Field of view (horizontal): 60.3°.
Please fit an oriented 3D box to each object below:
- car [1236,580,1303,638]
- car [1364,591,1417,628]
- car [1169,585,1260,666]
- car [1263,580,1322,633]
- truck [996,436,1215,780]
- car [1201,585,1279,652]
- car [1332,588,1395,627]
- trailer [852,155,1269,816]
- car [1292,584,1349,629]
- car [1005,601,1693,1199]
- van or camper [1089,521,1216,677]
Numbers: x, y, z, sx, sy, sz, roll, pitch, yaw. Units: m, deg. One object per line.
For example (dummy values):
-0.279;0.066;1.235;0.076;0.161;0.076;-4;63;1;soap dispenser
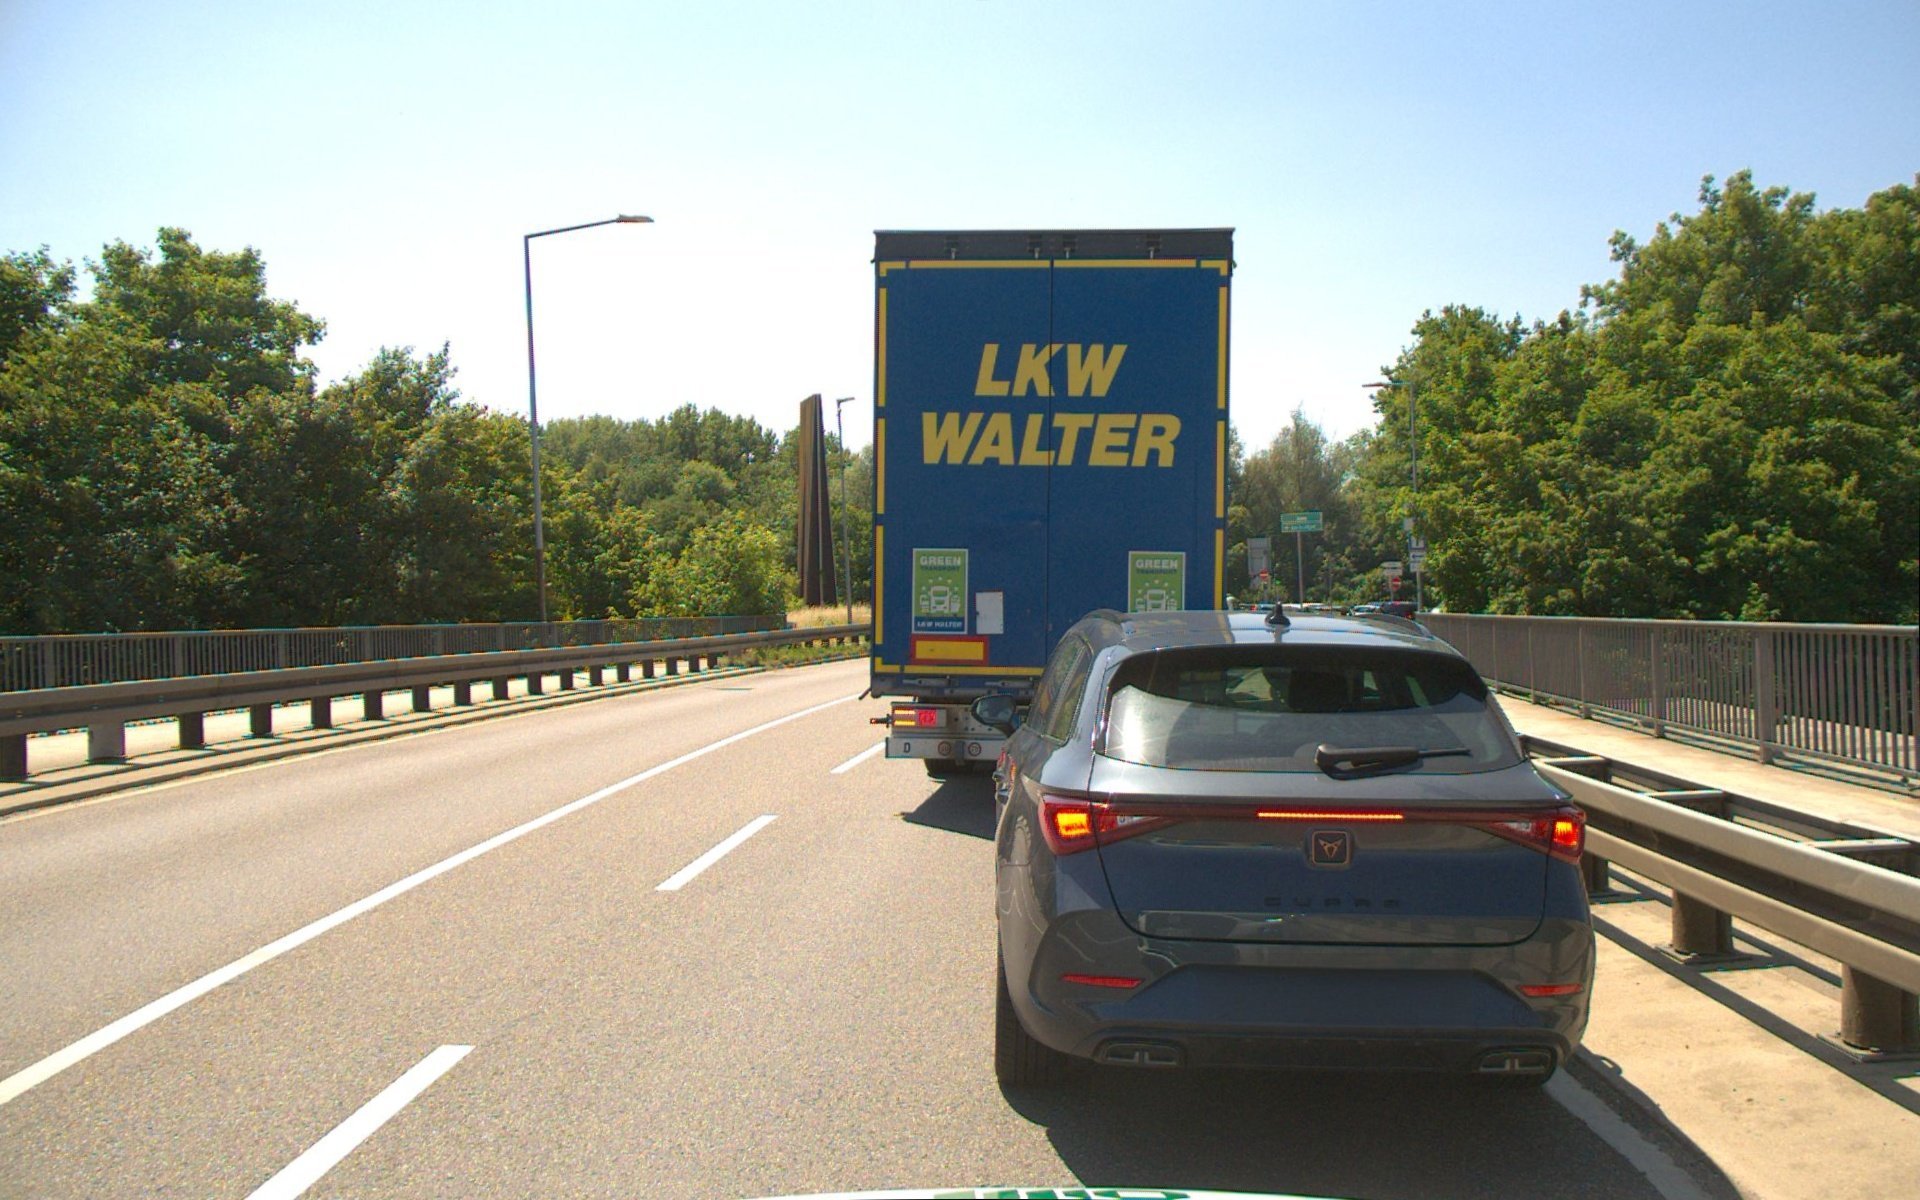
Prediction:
10.393;0.266;55.321;1.685;1.876;4.002;0;0;18;car
21.004;0.477;80.666;1.653;1.791;3.995;0;-1;28;car
6.363;0.585;41.075;1.684;1.876;4.002;0;1;17;car
12.425;0.221;61.679;1.685;1.876;4.002;0;0;18;car
2.305;0.080;25.074;2.843;4.496;6.560;0;0;7;truck
8.069;0.483;47.419;1.684;1.834;4.002;0;0;17;car
18.218;0.353;74.651;1.954;1.603;3.996;2;-1;26;car
1.409;-0.816;17.583;2.843;4.496;12.442;0;0;7;trailer
14.931;0.291;68.368;1.651;1.791;3.999;0;-1;22;car
0.985;0.747;5.949;1.642;1.481;3.959;0;0;1;car
4.027;-0.034;33.667;2.108;2.865;6.393;0;0;11;van or camper
